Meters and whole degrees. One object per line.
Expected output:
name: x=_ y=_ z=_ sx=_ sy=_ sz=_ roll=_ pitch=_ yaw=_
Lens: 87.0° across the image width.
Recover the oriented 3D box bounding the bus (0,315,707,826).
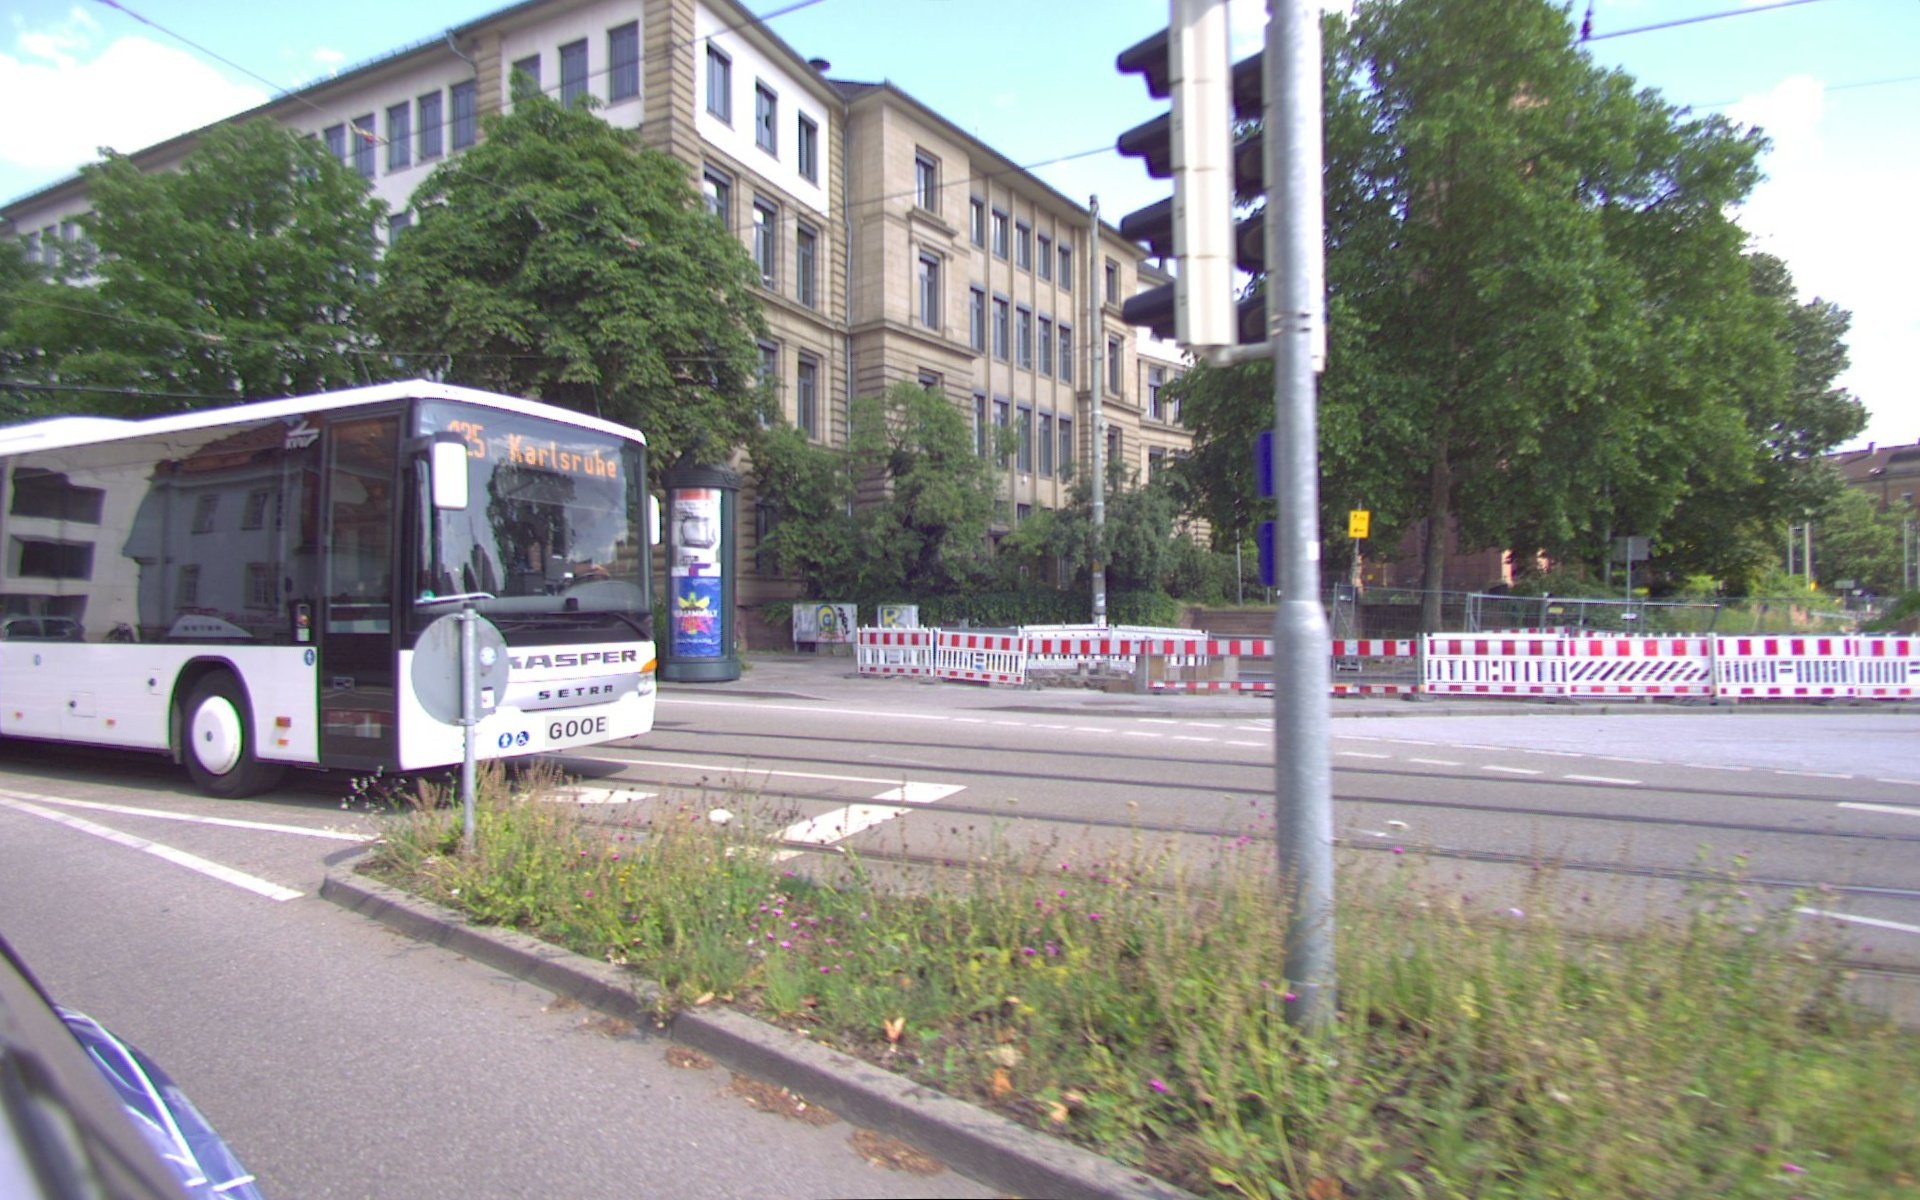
bus: x=-8.423 y=-0.150 z=10.547 sx=12.135 sy=3.353 sz=2.903 roll=-1 pitch=0 yaw=25

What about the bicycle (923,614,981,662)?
bicycle: x=-0.184 y=0.975 z=26.598 sx=0.726 sy=1.177 sz=2.104 roll=-1 pitch=0 yaw=24
